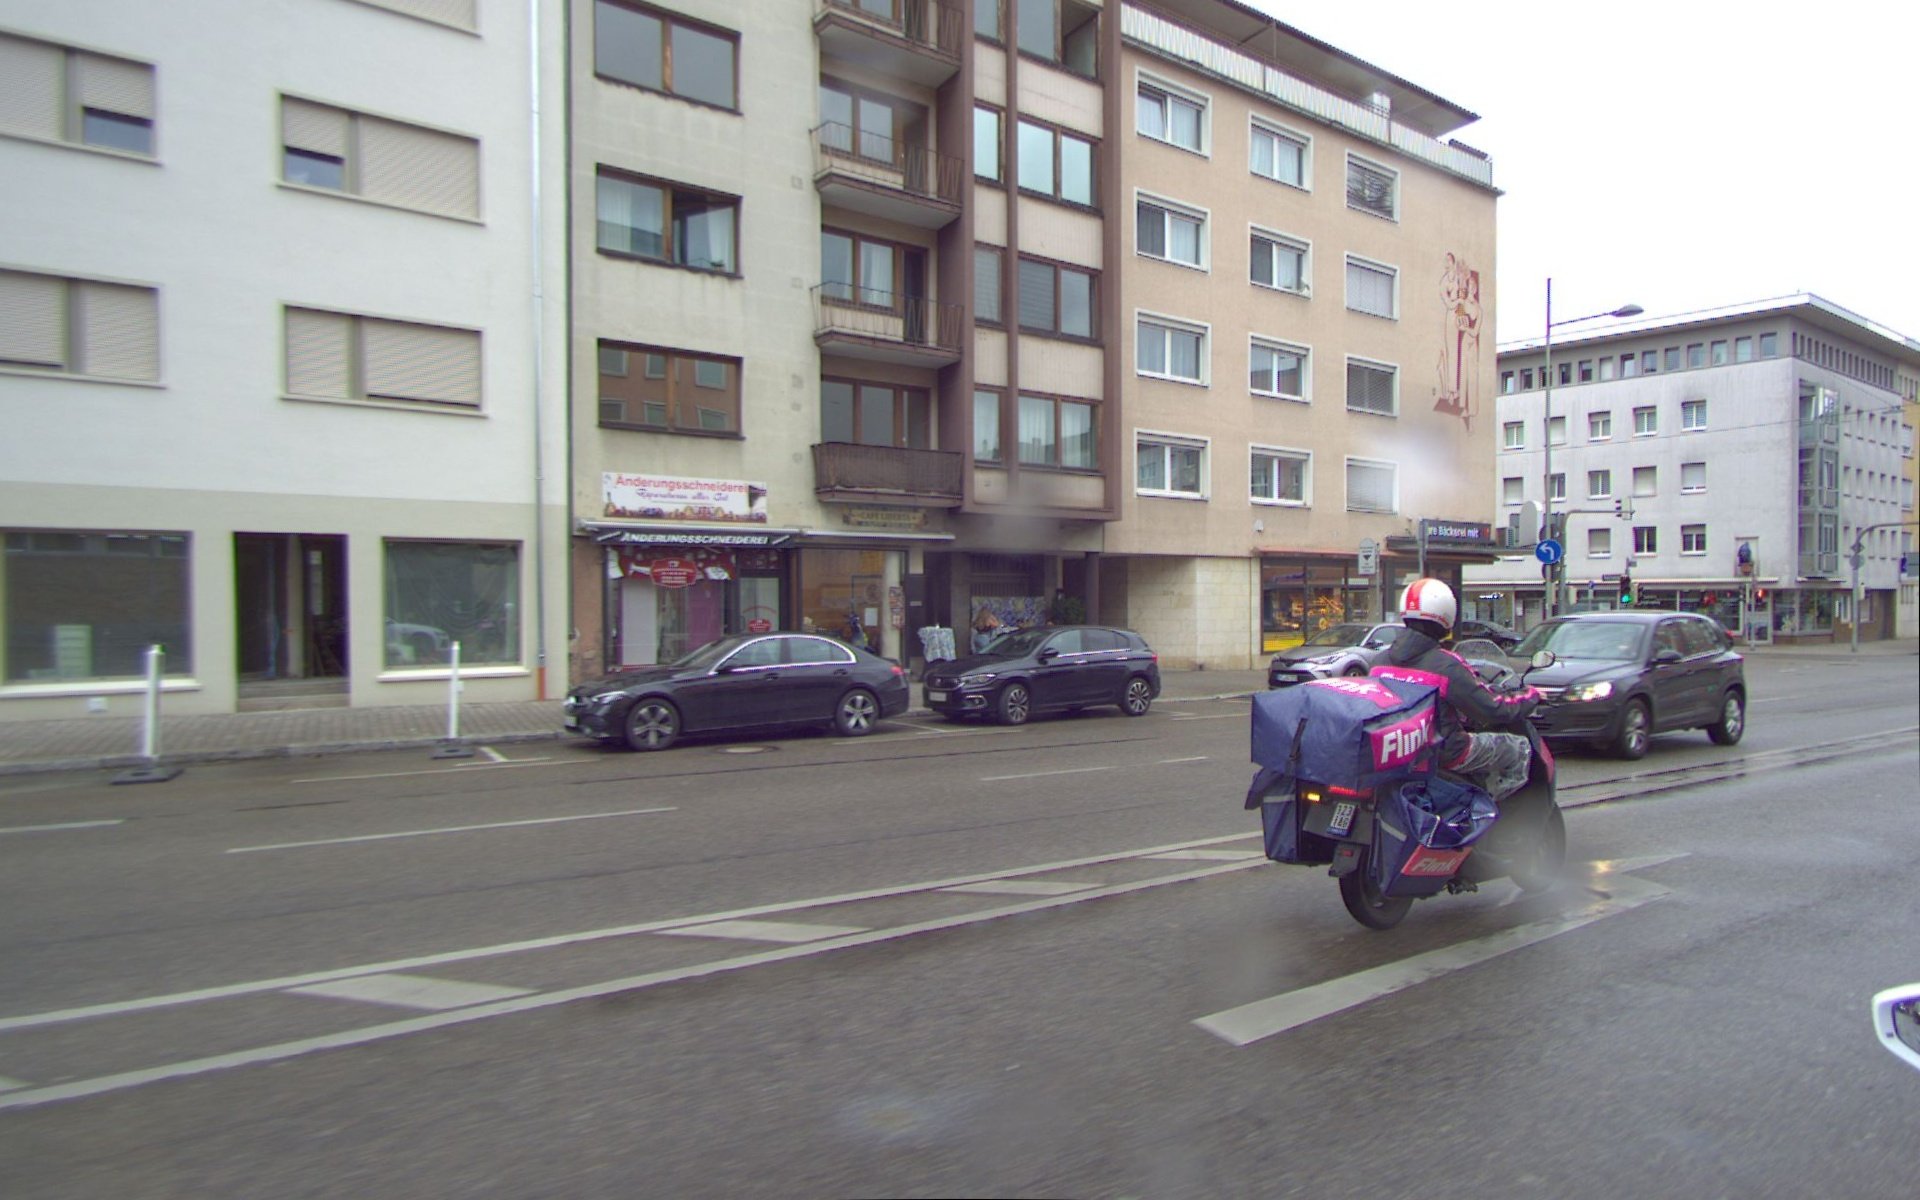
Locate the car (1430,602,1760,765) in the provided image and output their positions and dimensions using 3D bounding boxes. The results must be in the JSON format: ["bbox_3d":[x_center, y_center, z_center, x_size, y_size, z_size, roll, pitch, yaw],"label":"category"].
[{"bbox_3d":[7.820,0.908,12.267,4.209,1.669,1.851,1,-2,-34],"label":"car"}]

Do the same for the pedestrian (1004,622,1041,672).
[{"bbox_3d":[1.480,1.100,23.725,0.625,1.163,0.604,1,0,-32],"label":"pedestrian"}]

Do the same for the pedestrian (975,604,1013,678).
[{"bbox_3d":[0.758,0.895,22.329,0.537,1.604,0.665,1,0,44],"label":"pedestrian"}]

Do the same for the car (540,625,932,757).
[{"bbox_3d":[-2.939,1.105,13.746,4.930,1.496,1.870,1,-2,-36],"label":"car"}]

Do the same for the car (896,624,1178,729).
[{"bbox_3d":[1.342,1.156,16.670,4.474,1.496,1.980,1,-1,-36],"label":"car"}]

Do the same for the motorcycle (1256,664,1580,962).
[{"bbox_3d":[2.425,0.971,5.182,2.082,1.207,0.583,1,0,-37],"label":"motorcycle"}]

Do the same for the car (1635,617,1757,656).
[{"bbox_3d":[31.997,1.572,43.797,3.920,1.648,1.698,-1,-1,17],"label":"car"}]

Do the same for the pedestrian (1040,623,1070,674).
[{"bbox_3d":[2.225,1.130,23.648,0.584,1.163,0.674,1,0,-5],"label":"pedestrian"}]

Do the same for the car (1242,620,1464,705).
[{"bbox_3d":[8.133,1.223,20.704,4.578,1.574,1.898,1,-2,-31],"label":"car"}]

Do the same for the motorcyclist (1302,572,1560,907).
[{"bbox_3d":[2.408,0.639,5.164,0.856,1.513,0.908,1,0,-36],"label":"motorcyclist"}]

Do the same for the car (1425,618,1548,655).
[{"bbox_3d":[22.611,1.537,43.274,2.030,1.395,4.288,-2,1,-41],"label":"car"}]

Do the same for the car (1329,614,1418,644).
[{"bbox_3d":[23.501,1.612,57.157,4.281,1.653,2.034,-1,-1,45],"label":"car"}]
